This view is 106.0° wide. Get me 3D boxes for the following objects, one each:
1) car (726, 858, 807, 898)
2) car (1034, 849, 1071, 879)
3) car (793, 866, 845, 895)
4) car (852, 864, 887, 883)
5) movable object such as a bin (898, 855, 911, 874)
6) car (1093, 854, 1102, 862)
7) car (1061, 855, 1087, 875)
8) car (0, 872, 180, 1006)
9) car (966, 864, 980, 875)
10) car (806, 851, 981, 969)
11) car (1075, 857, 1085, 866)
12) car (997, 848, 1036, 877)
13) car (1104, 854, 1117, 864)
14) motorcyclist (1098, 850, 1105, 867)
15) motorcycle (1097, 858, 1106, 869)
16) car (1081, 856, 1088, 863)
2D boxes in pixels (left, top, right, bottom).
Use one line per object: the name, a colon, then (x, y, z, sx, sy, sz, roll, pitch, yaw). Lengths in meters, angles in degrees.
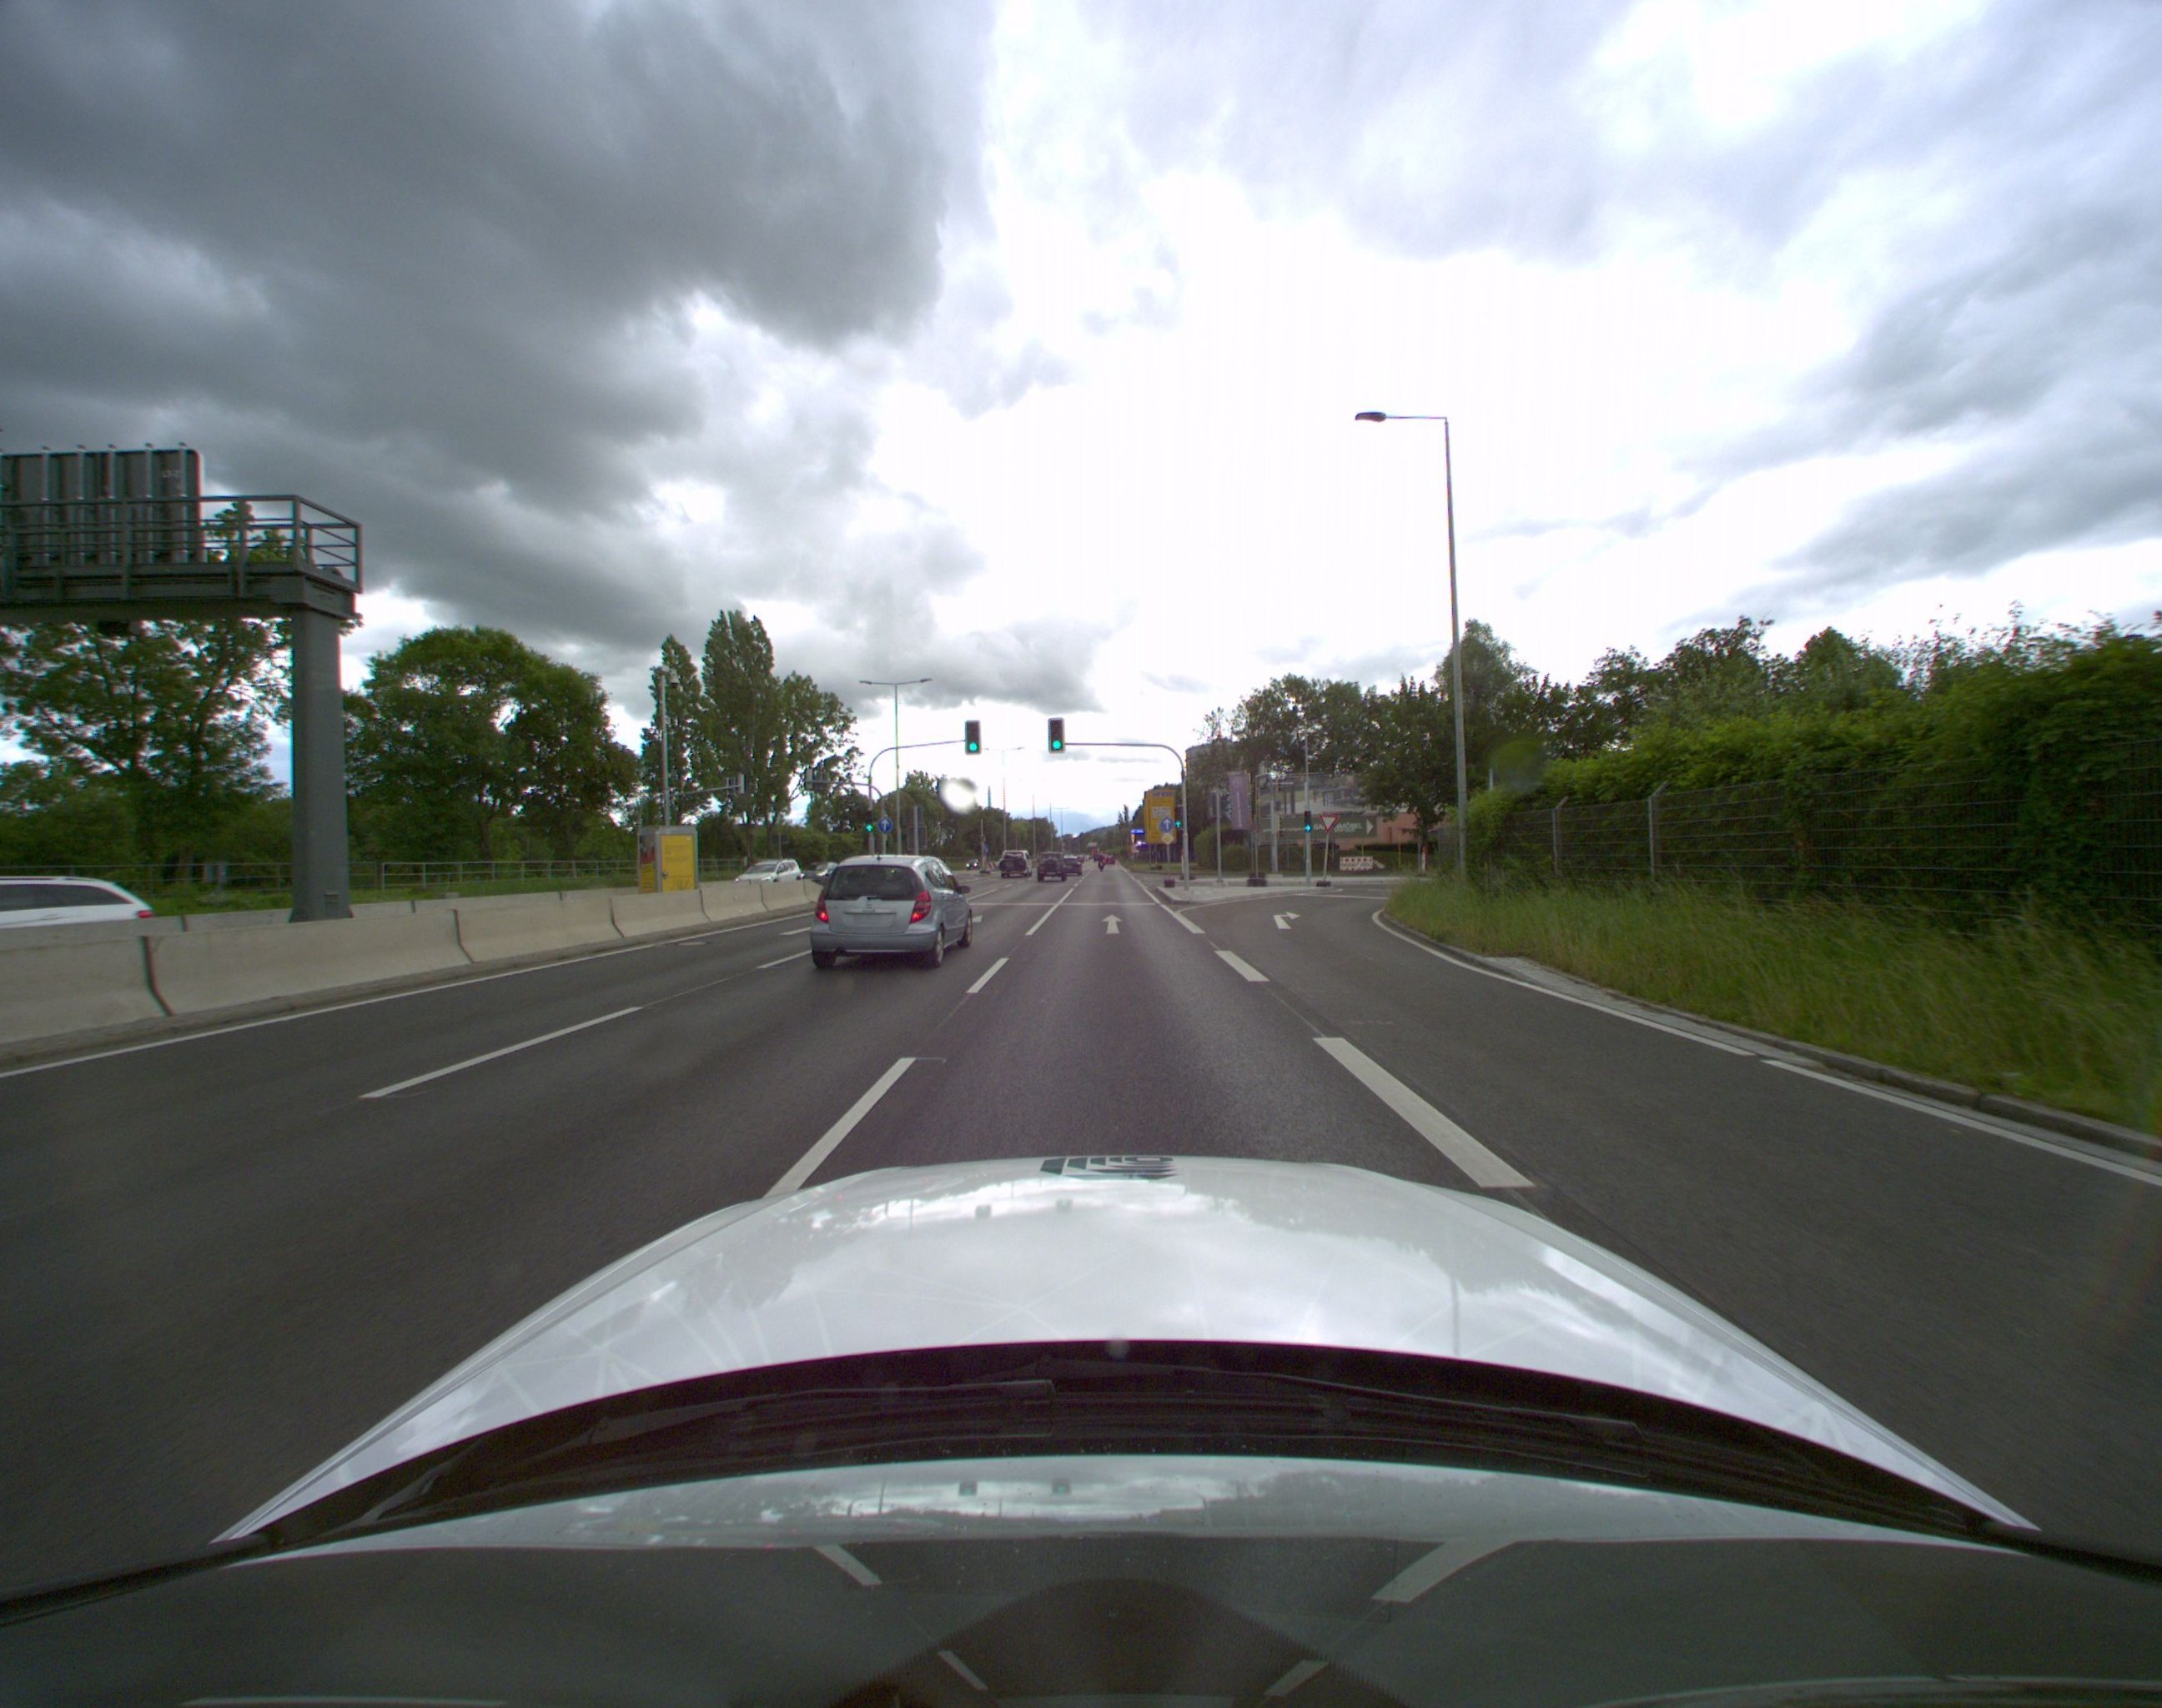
car: (-14.751, 1.077, 38.511, 1.986, 1.684, 4.413, 1, 0, 1)
car: (-1.637, 0.584, 48.590, 1.900, 1.684, 4.002, 1, 0, 2)
car: (-17.229, 1.703, 53.757, 1.987, 1.656, 4.287, 1, 2, 0)
car: (-19.283, 1.784, 74.505, 1.987, 1.550, 4.567, -2, 0, 0)
movable object such as a bin: (-10.018, 0.601, 46.183, 0.538, 1.059, 0.741, 1, 0, 1)
car: (3.933, 0.920, 196.377, 1.986, 2.013, 4.002, 1, 0, 2)
car: (-0.467, 0.839, 62.374, 1.833, 1.464, 4.001, 1, 0, 1)
car: (-15.109, 1.147, 10.355, 1.986, 1.668, 4.697, 1, 0, 1)
car: (-15.223, 2.143, 114.927, 1.467, 1.463, 2.738, 1, 0, 2)
car: (-2.708, 0.727, 12.680, 1.704, 1.530, 4.001, 1, 0, 1)
car: (-0.186, 1.581, 176.547, 1.986, 2.013, 4.002, 1, 0, 2)
car: (-4.513, 0.538, 57.620, 2.206, 1.925, 5.005, 1, 0, 2)
car: (4.682, 0.772, 129.865, 1.987, 1.552, 4.000, 1, 0, 0)
motorcyclist: (1.973, 0.463, 77.871, 0.682, 1.610, 0.846, 1, 0, 3)
motorcycle: (1.954, 0.907, 77.654, 0.703, 1.040, 2.029, 1, 0, 3)
car: (0.995, 1.633, 247.813, 1.986, 2.013, 4.002, 1, 0, 2)
